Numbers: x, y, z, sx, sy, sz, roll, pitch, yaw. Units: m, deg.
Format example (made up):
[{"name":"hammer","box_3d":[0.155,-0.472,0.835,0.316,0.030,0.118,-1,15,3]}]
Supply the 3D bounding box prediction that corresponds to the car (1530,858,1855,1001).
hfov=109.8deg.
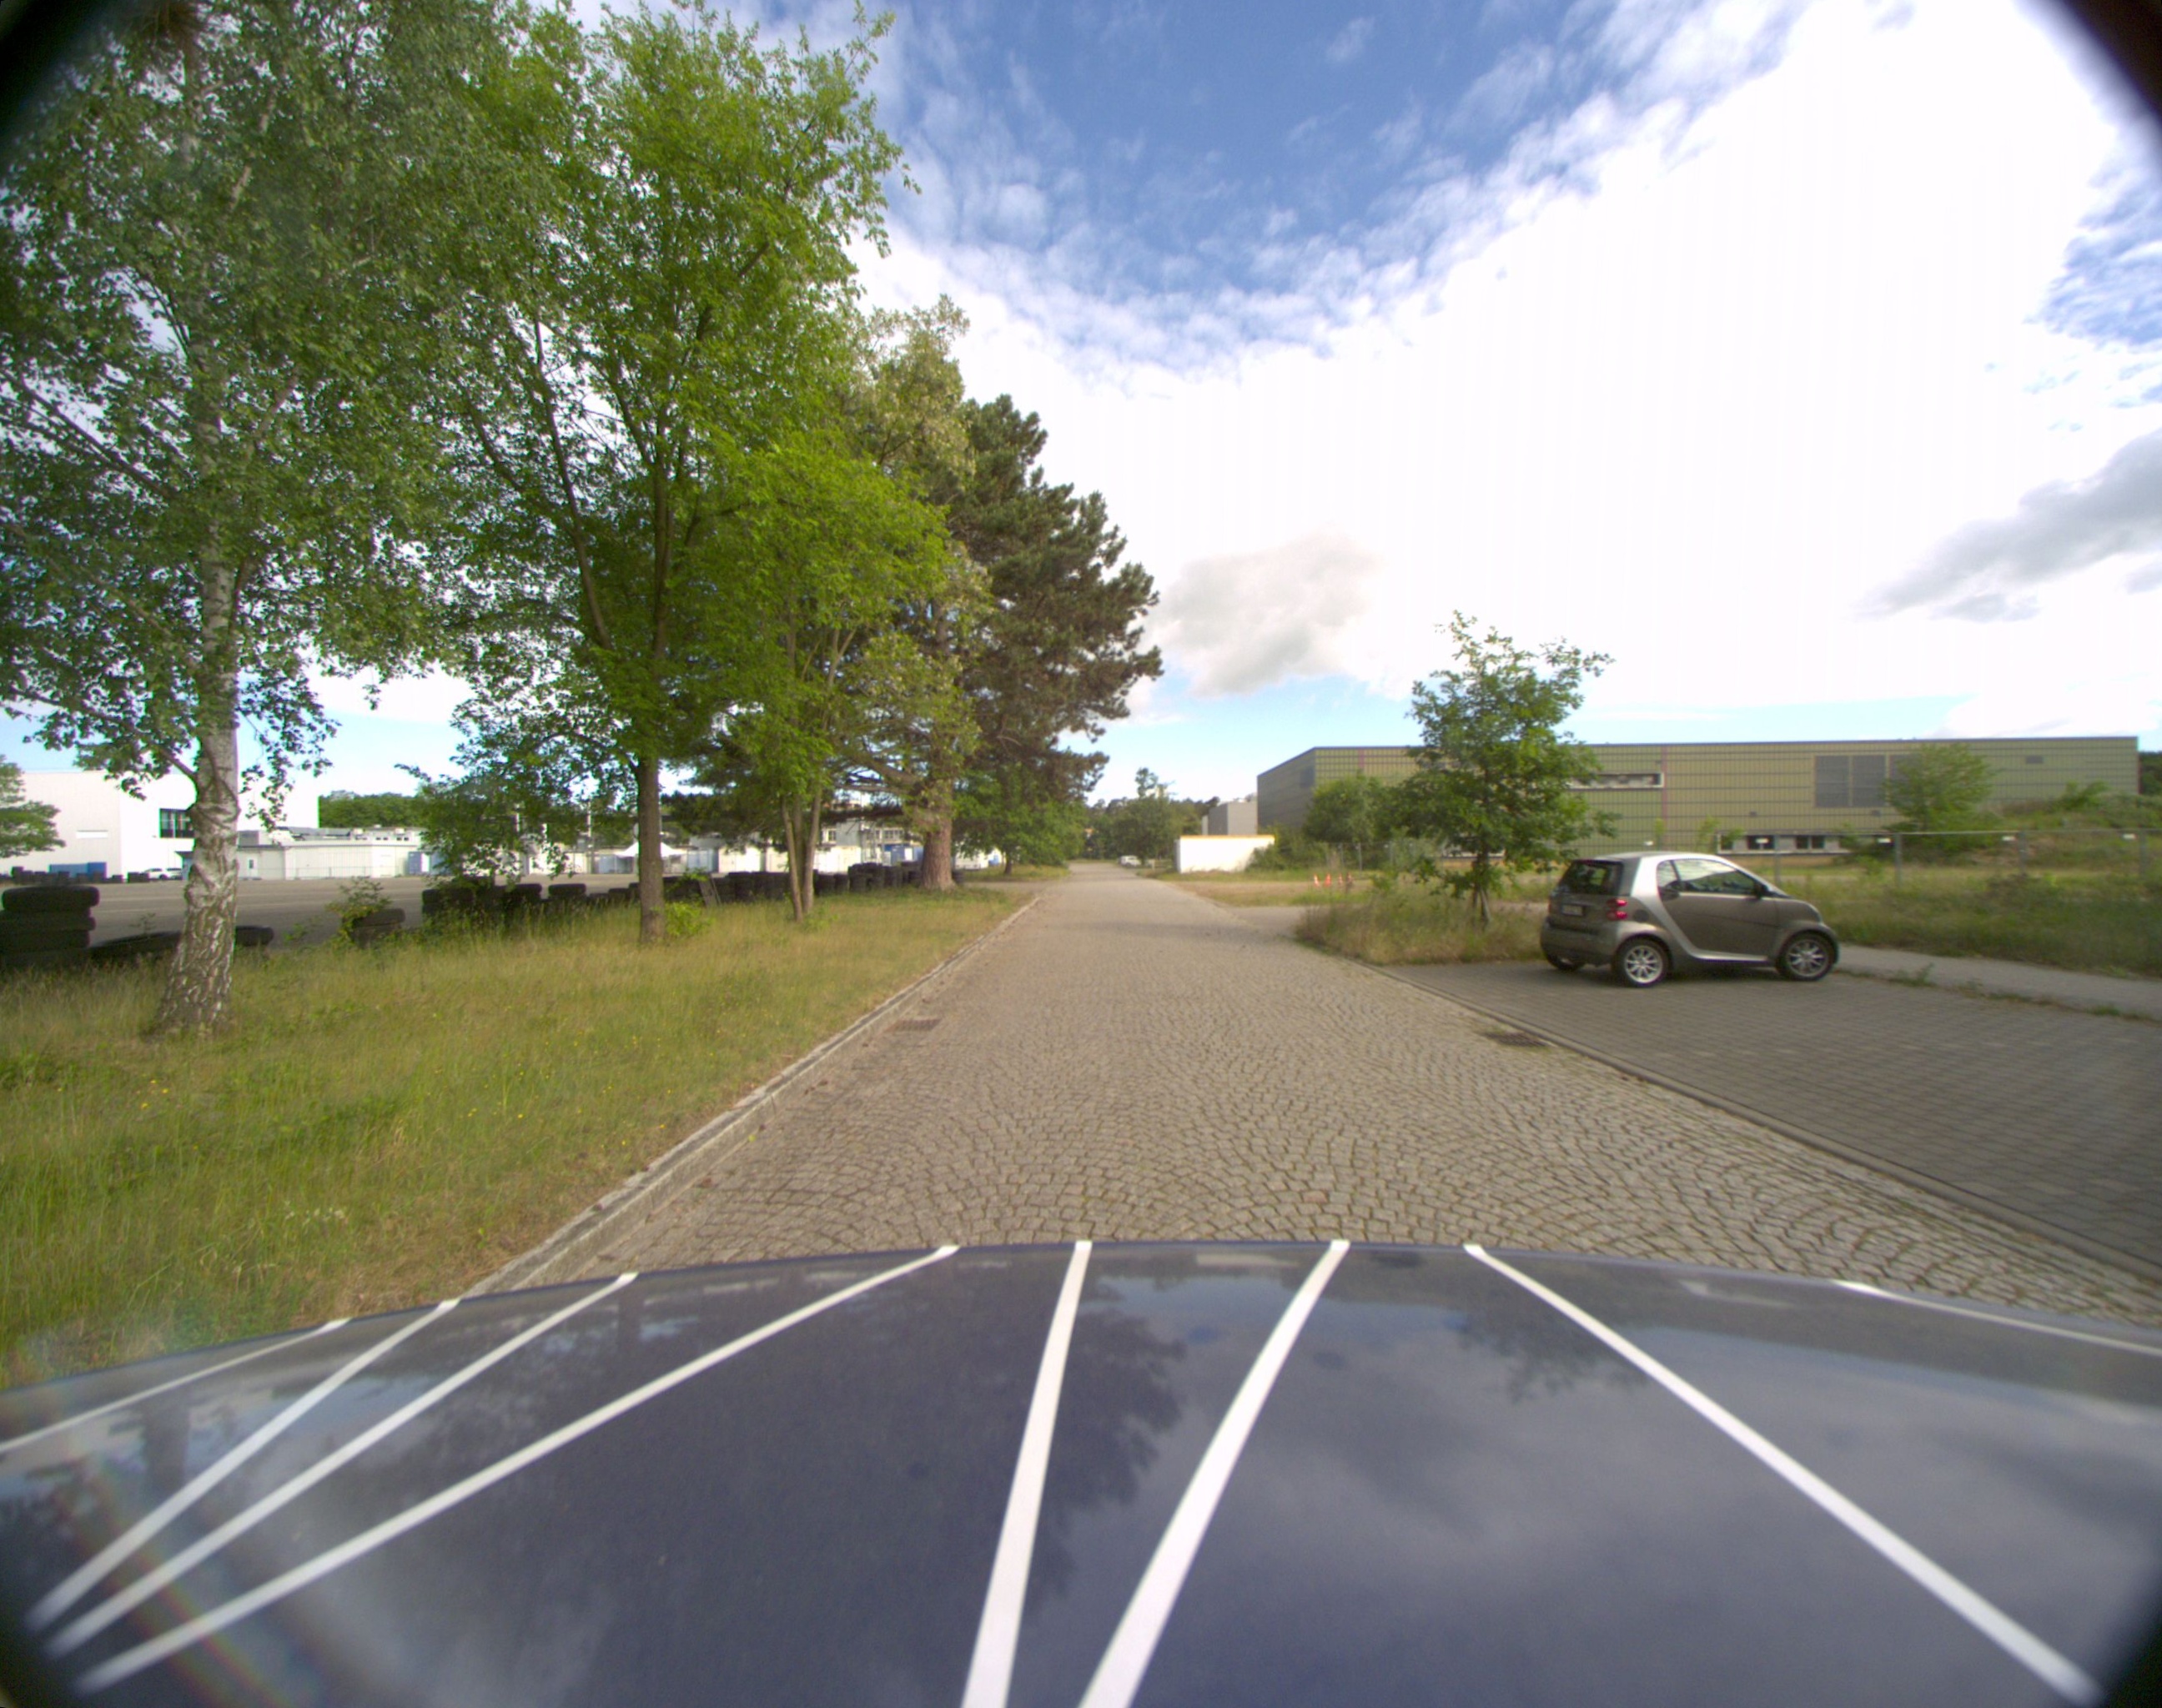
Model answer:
[{"name":"car","box_3d":[7.335,0.855,9.328,2.661,1.502,1.610,-2,0,0]}]

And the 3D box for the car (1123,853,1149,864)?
[{"name":"car","box_3d":[8.476,0.641,116.551,3.996,1.604,1.797,0,0,4]}]
